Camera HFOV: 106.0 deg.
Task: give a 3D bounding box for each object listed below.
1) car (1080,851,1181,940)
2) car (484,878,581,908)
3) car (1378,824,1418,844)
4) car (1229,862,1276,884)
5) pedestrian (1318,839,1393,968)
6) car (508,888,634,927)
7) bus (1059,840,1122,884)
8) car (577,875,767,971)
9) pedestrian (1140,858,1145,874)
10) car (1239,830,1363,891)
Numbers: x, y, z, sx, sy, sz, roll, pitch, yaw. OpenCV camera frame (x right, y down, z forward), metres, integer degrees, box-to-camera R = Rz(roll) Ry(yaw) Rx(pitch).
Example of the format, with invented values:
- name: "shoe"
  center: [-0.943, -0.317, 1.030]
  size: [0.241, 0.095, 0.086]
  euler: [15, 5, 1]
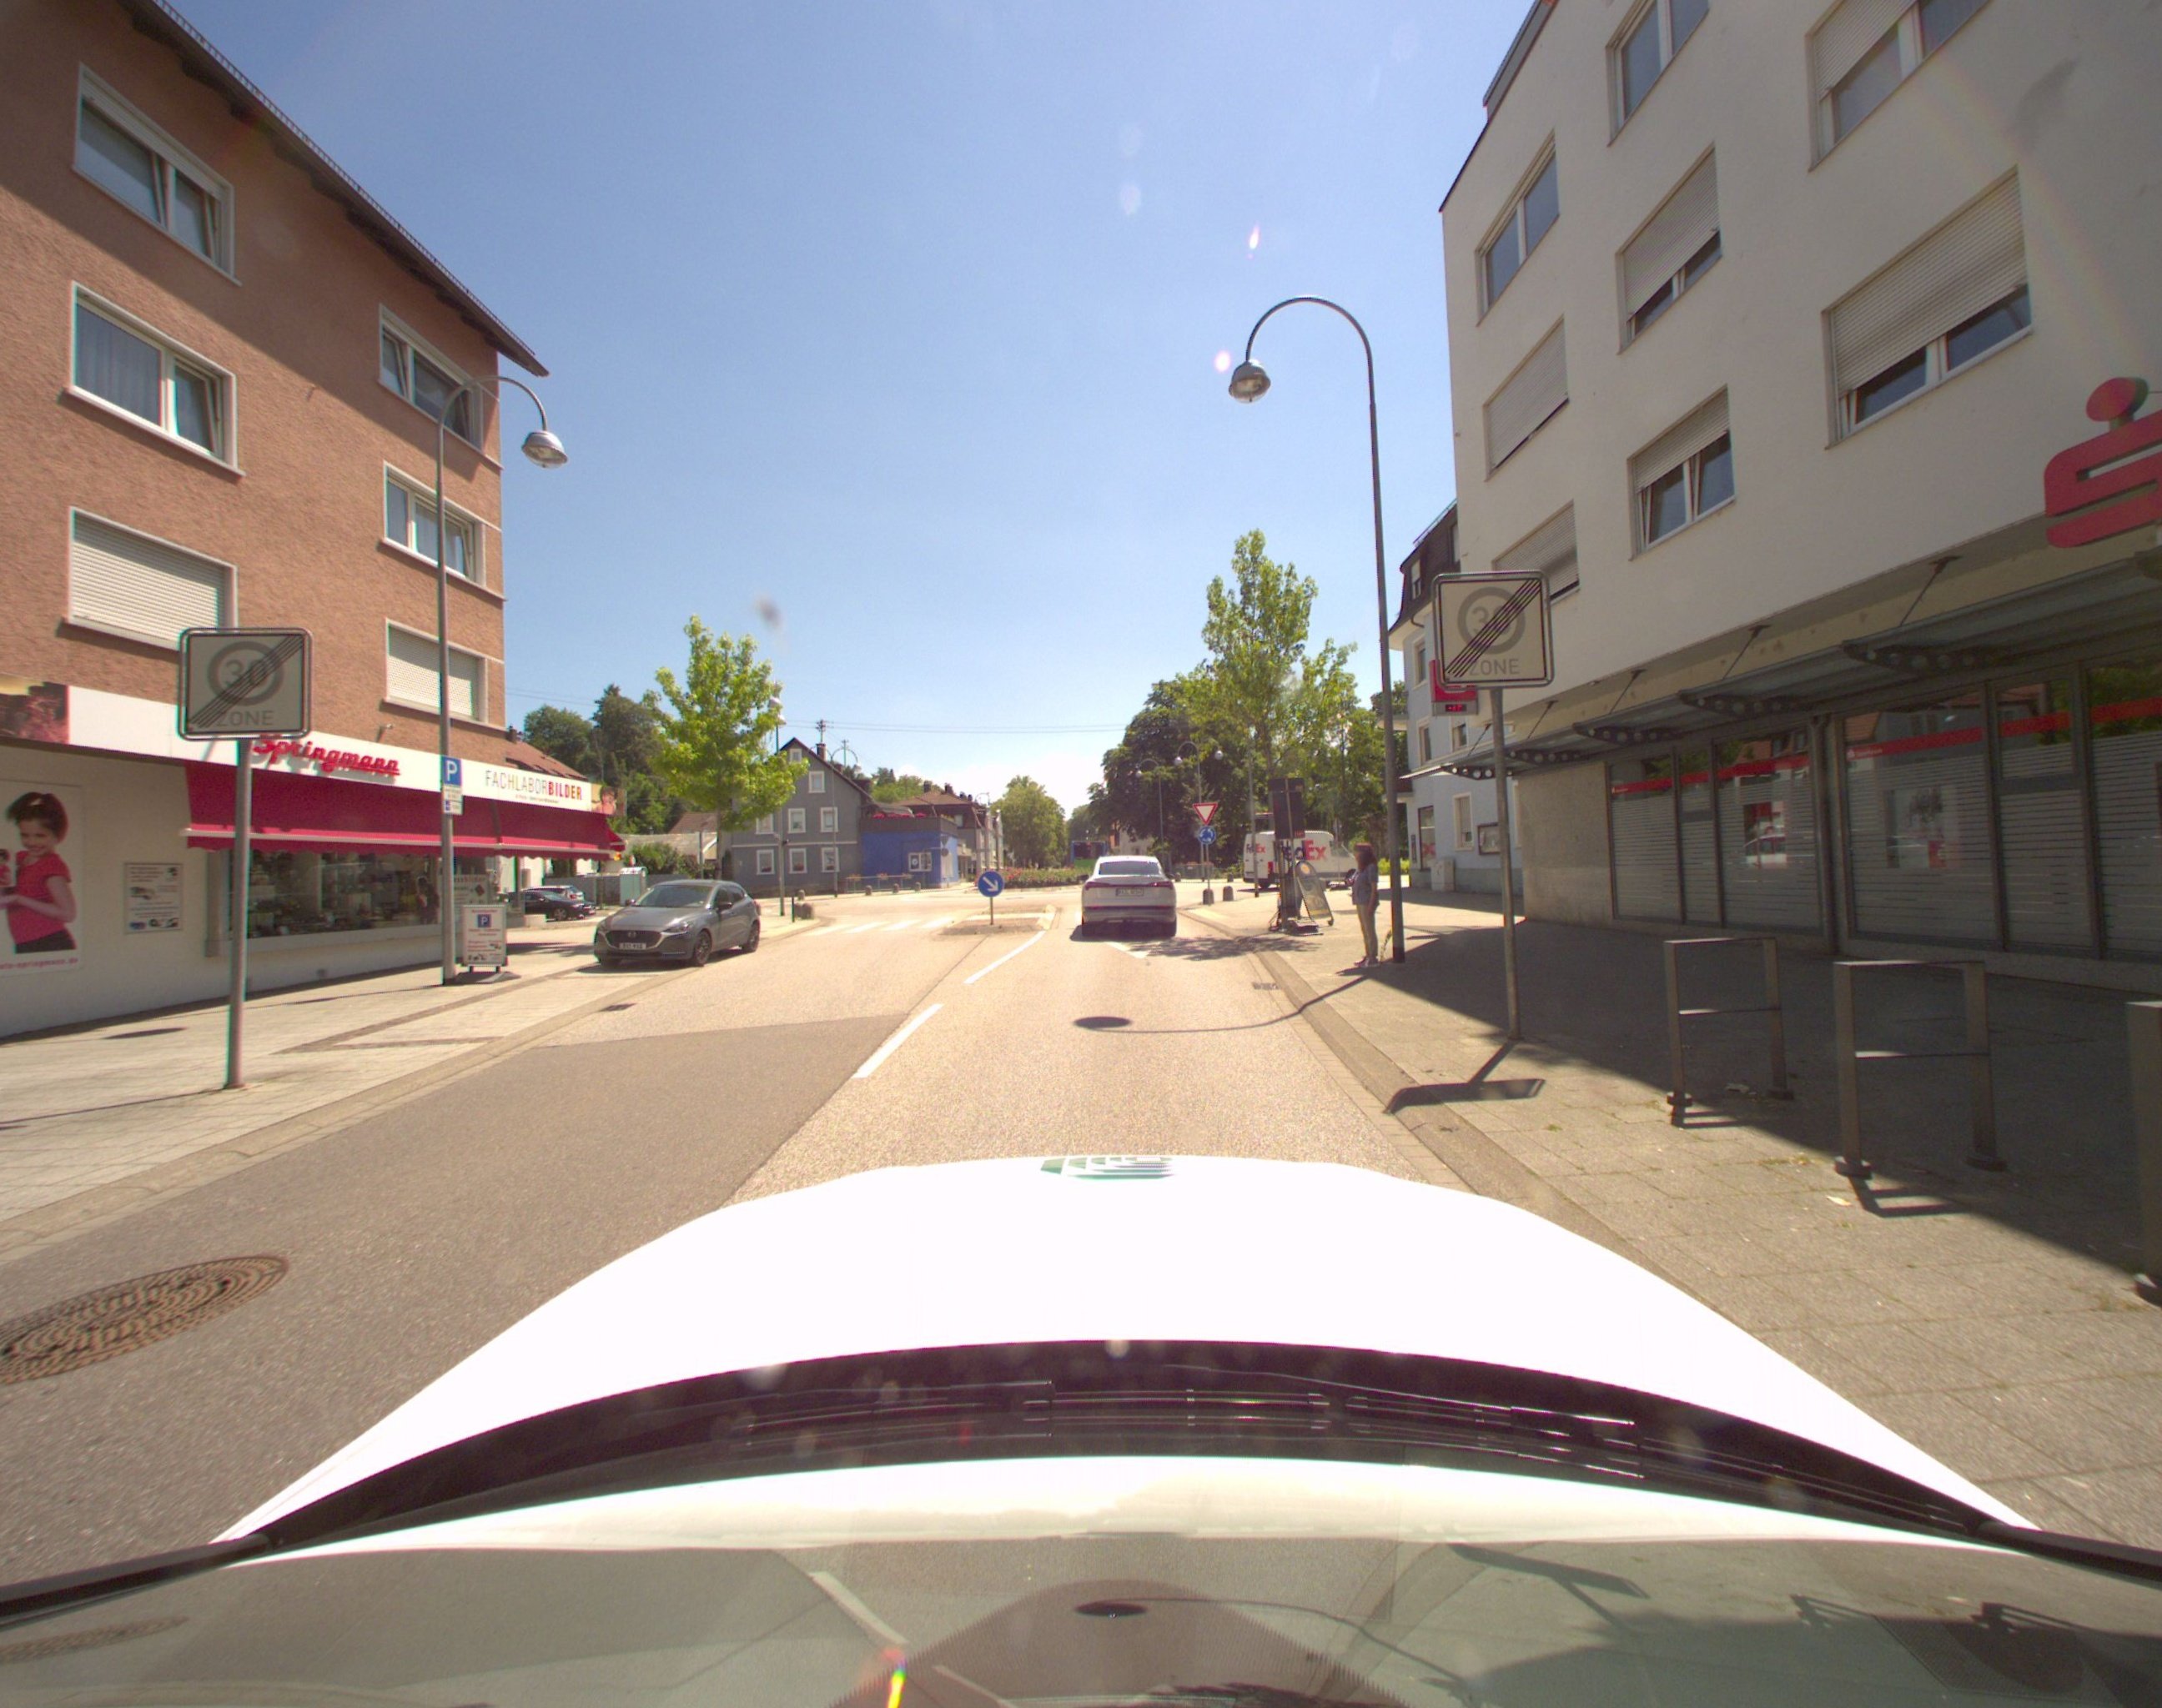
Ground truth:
- name: "car"
  center: [0.959, 0.805, 17.566]
  size: [1.892, 1.662, 4.409]
  euler: [-1, -1, 1]
- name: "car"
  center: [-30.265, 2.142, 45.052]
  size: [4.075, 1.391, 1.600]
  euler: [-2, 2, -17]
- name: "car"
  center: [35.507, -2.170, 91.178]
  size: [3.950, 2.014, 2.012]
  euler: [-3, -1, 26]
- name: "car"
  center: [13.038, 1.429, 62.084]
  size: [3.053, 1.553, 1.627]
  euler: [-2, -1, -14]
- name: "pedestrian"
  center: [3.581, 0.633, 10.667]
  size: [0.729, 1.610, 0.559]
  euler: [-2, -1, 1]
- name: "car"
  center: [-22.990, 2.373, 36.861]
  size: [4.431, 1.457, 1.760]
  euler: [-2, -1, -15]
- name: "bus"
  center: [0.447, 0.756, 67.273]
  size: [3.700, 3.171, 18.038]
  euler: [0, -1, -4]
- name: "car"
  center: [-7.406, 1.172, 15.232]
  size: [1.663, 1.486, 4.055]
  euler: [1, -1, -3]
- name: "pedestrian"
  center: [6.613, 1.270, 87.586]
  size: [0.501, 1.650, 0.578]
  euler: [-2, -1, -6]
- name: "car"
  center: [10.015, 0.210, 36.961]
  size: [5.495, 2.480, 1.983]
  euler: [-2, 2, -26]
